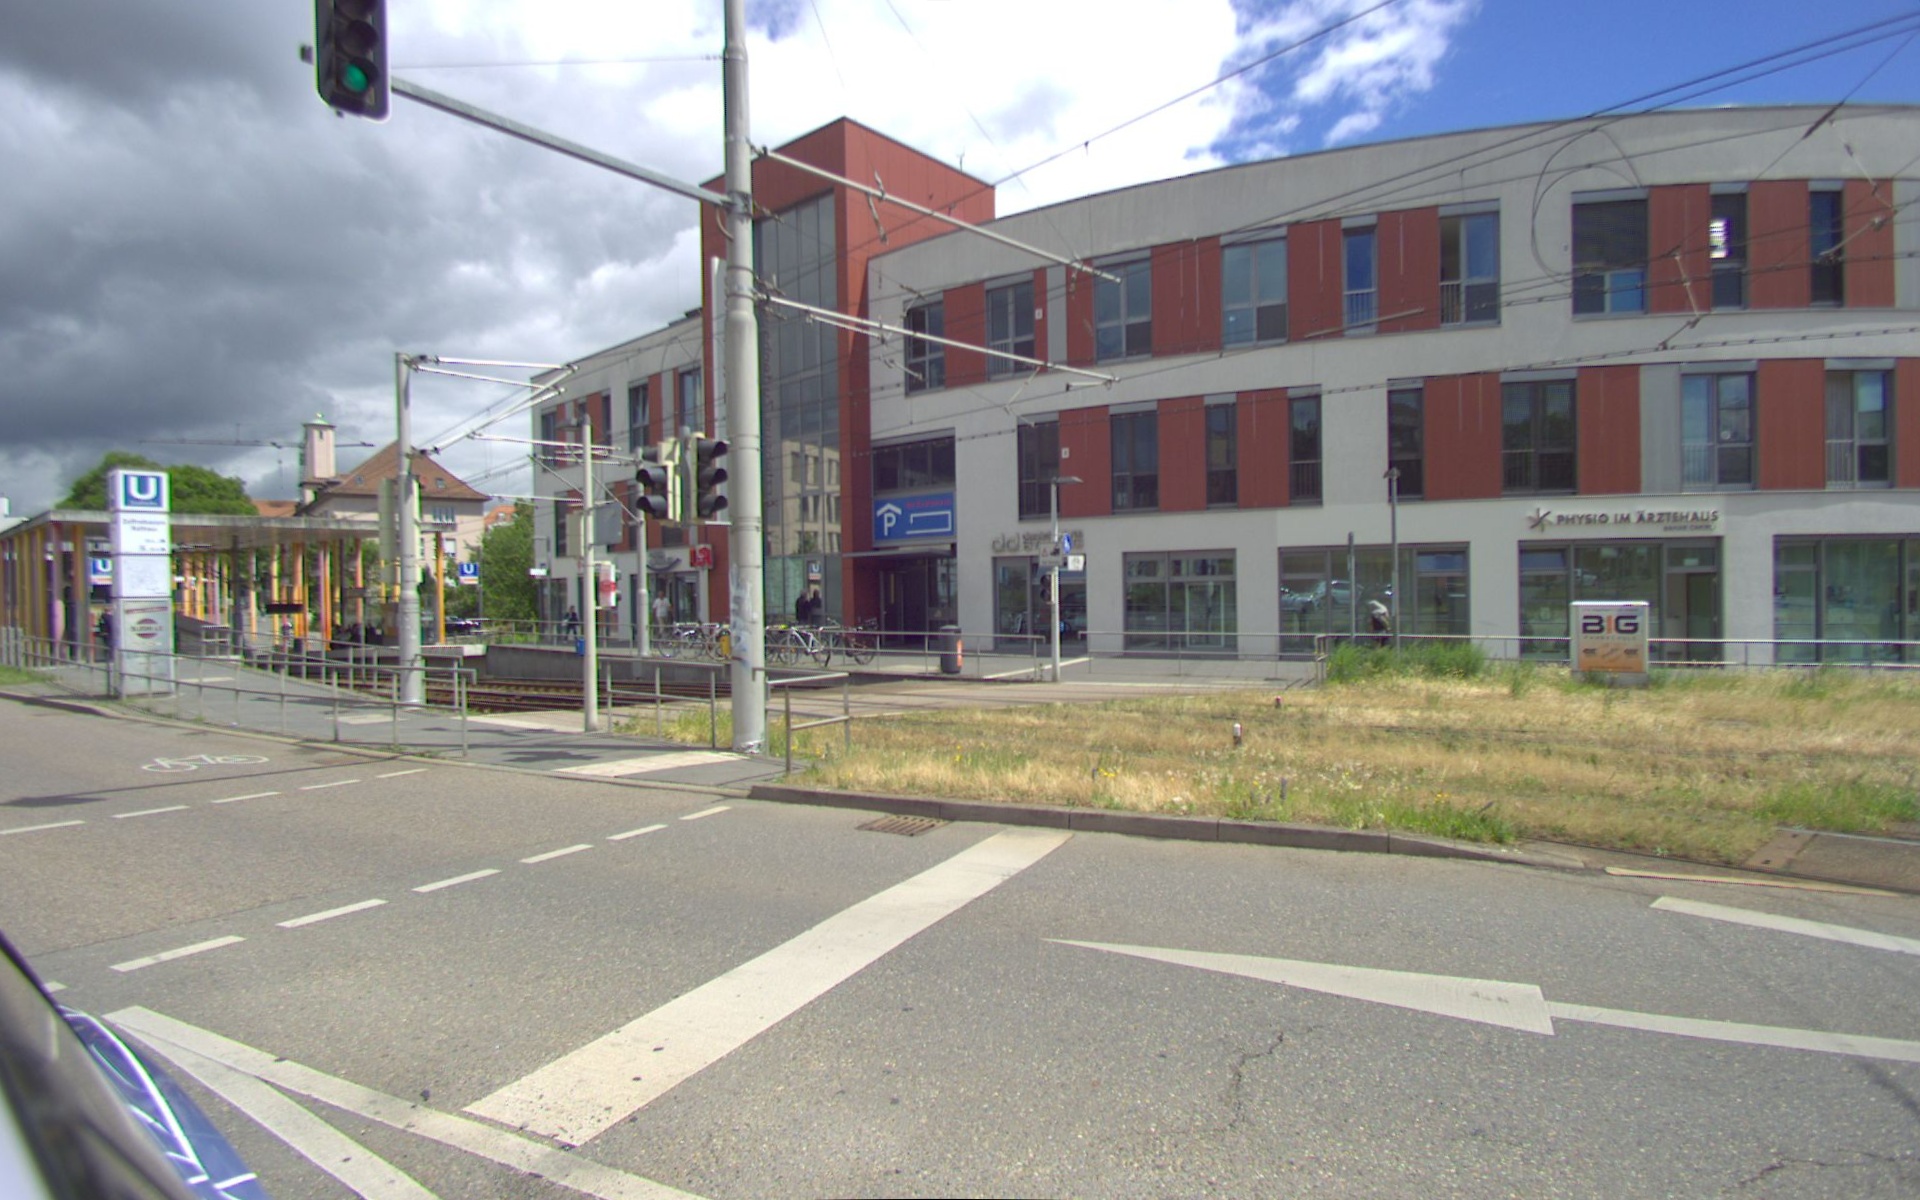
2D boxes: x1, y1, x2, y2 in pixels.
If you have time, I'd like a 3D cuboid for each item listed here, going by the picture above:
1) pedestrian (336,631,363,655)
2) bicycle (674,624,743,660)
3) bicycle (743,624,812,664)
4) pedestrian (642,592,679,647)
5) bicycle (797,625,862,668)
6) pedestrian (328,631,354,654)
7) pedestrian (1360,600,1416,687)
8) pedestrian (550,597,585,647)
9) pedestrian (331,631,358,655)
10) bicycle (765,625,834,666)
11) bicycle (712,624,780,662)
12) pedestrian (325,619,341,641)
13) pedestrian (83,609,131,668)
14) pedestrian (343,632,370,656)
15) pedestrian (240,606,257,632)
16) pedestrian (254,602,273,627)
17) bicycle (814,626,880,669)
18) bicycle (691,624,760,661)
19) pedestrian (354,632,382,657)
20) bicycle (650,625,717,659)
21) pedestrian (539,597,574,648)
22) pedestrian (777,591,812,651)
[{"bbox_3d":[-30.110,2.132,49.912,0.886,1.143,0.931,-2,-1,42],"label":"pedestrian"},{"bbox_3d":[-6.980,1.153,28.149,1.835,0.939,0.455,0,0,-41],"label":"bicycle"},{"bbox_3d":[-4.736,1.126,26.343,0.454,0.970,1.837,-1,0,43],"label":"bicycle"},{"bbox_3d":[-11.048,0.708,37.293,1.106,1.983,0.852,0,-1,43],"label":"pedestrian"},{"bbox_3d":[-3.222,1.136,25.081,0.428,0.965,1.716,-1,0,43],"label":"bicycle"},{"bbox_3d":[-31.389,2.148,51.334,0.886,1.143,0.931,-2,-1,42],"label":"pedestrian"},{"bbox_3d":[9.981,0.994,23.617,1.106,1.983,0.860,0,-1,17],"label":"pedestrian"},{"bbox_3d":[-15.884,0.890,40.965,1.105,1.983,0.853,0,-1,39],"label":"pedestrian"},{"bbox_3d":[-30.800,2.136,50.630,0.886,1.143,0.931,-2,-1,42],"label":"pedestrian"},{"bbox_3d":[-4.053,1.137,25.707,0.454,0.942,1.837,-1,0,43],"label":"bicycle"},{"bbox_3d":[-5.695,1.137,26.991,1.836,0.946,0.455,0,0,-45],"label":"bicycle"},{"bbox_3d":[-42.369,2.028,68.382,0.902,1.461,0.735,-2,-1,41],"label":"pedestrian"},{"bbox_3d":[-28.265,1.259,33.546,0.864,1.929,1.090,0,-1,42],"label":"pedestrian"},{"bbox_3d":[-29.393,2.129,49.276,0.886,1.143,0.931,-2,-1,42],"label":"pedestrian"},{"bbox_3d":[-56.332,1.512,80.106,1.110,2.029,1.461,0,-1,-36],"label":"pedestrian"},{"bbox_3d":[-57.907,1.199,84.166,1.112,2.029,1.180,0,-1,-44],"label":"pedestrian"},{"bbox_3d":[-2.734,1.137,24.677,0.428,0.959,1.716,-1,0,43],"label":"bicycle"},{"bbox_3d":[-6.367,1.150,27.590,1.835,0.929,0.455,0,0,-42],"label":"bicycle"},{"bbox_3d":[-28.544,2.129,48.802,0.886,1.143,0.931,-2,-1,42],"label":"pedestrian"},{"bbox_3d":[-7.873,1.189,28.837,1.834,0.888,0.455,0,0,-41],"label":"bicycle"},{"bbox_3d":[-16.210,0.893,40.684,1.105,1.983,0.853,0,-1,39],"label":"pedestrian"},{"bbox_3d":[-5.309,0.663,32.488,0.856,1.859,0.876,0,1,13],"label":"pedestrian"}]
